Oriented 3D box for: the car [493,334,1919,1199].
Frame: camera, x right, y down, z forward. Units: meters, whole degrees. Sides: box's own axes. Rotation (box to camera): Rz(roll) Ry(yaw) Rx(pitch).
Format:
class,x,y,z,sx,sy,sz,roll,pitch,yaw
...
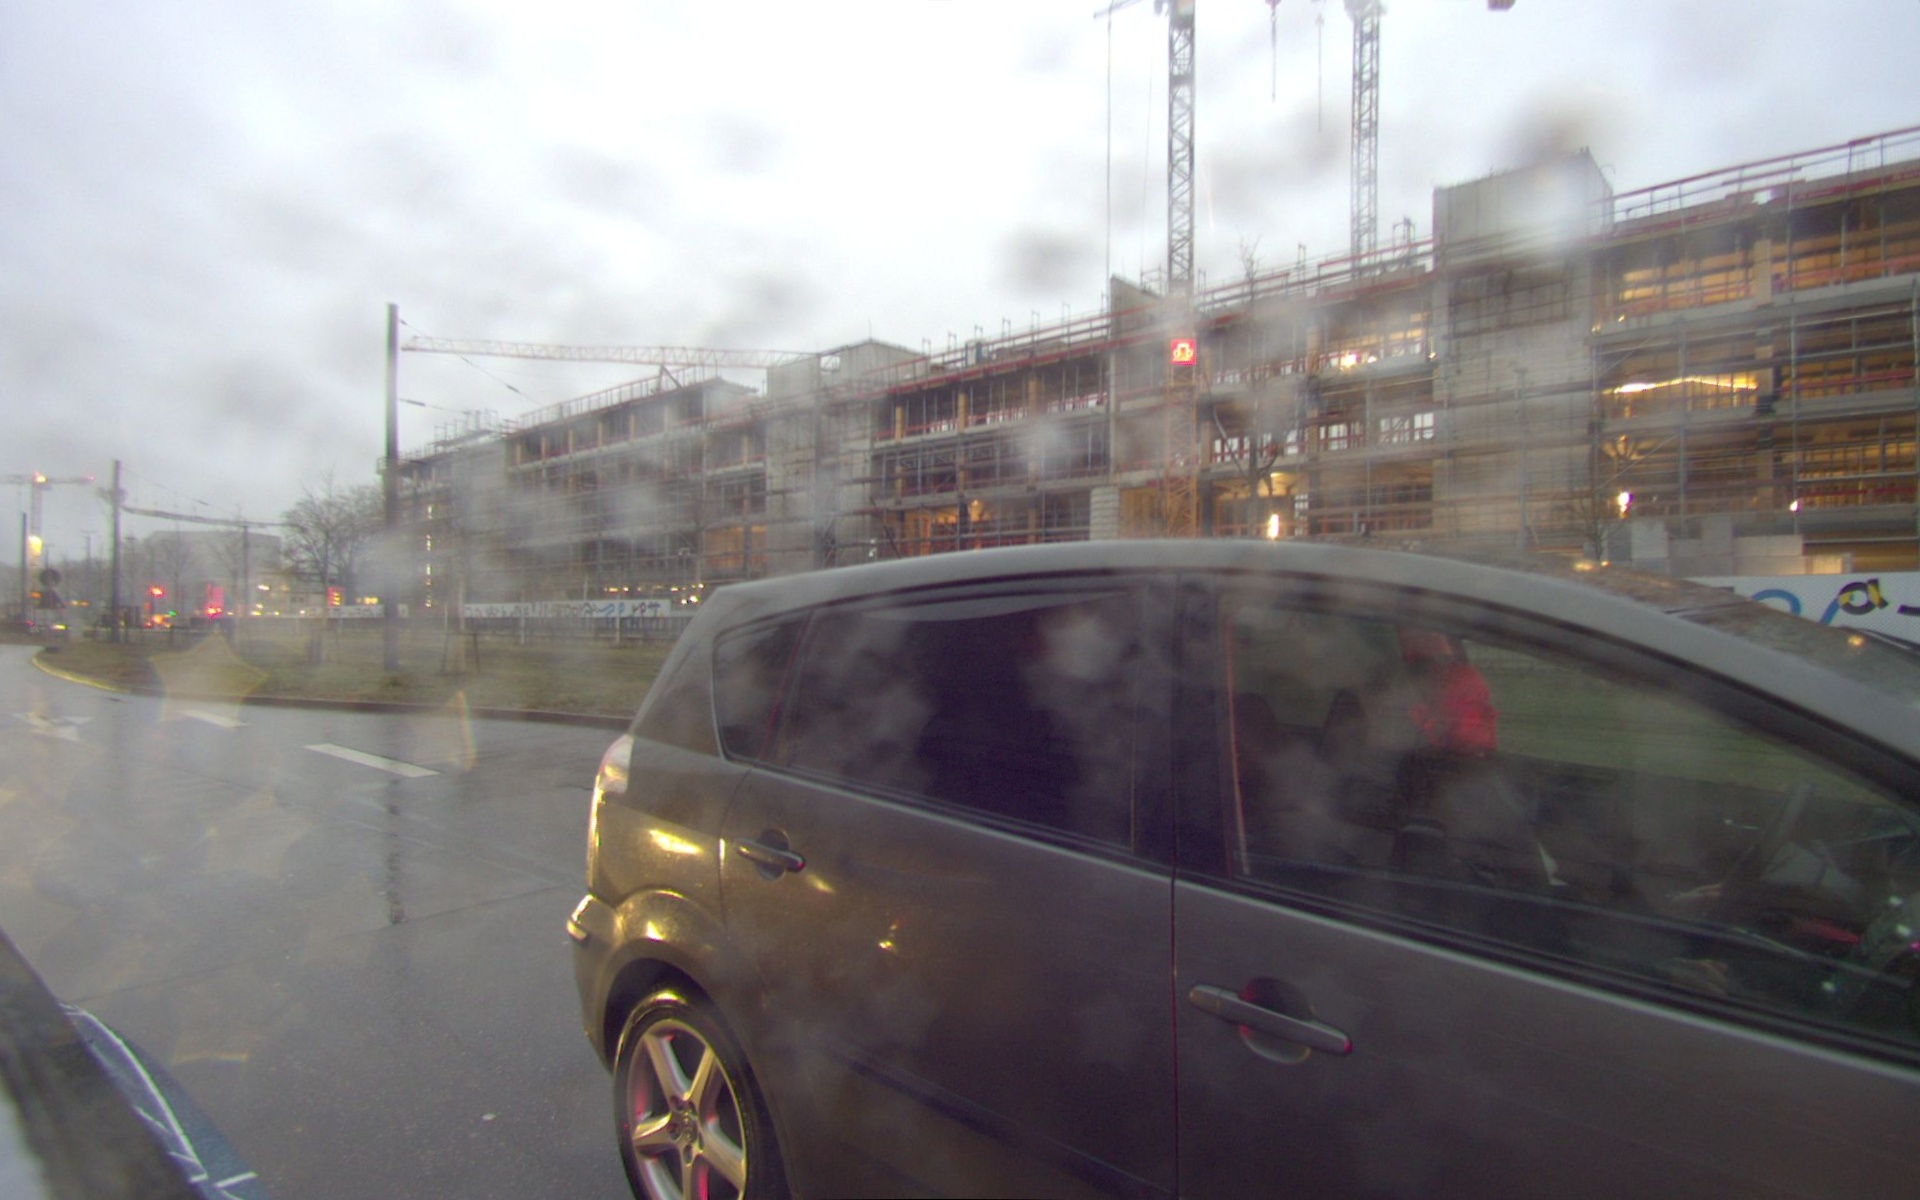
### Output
class,x,y,z,sx,sy,sz,roll,pitch,yaw
car,0.988,0.608,1.916,4.131,1.659,1.793,-1,-1,39
